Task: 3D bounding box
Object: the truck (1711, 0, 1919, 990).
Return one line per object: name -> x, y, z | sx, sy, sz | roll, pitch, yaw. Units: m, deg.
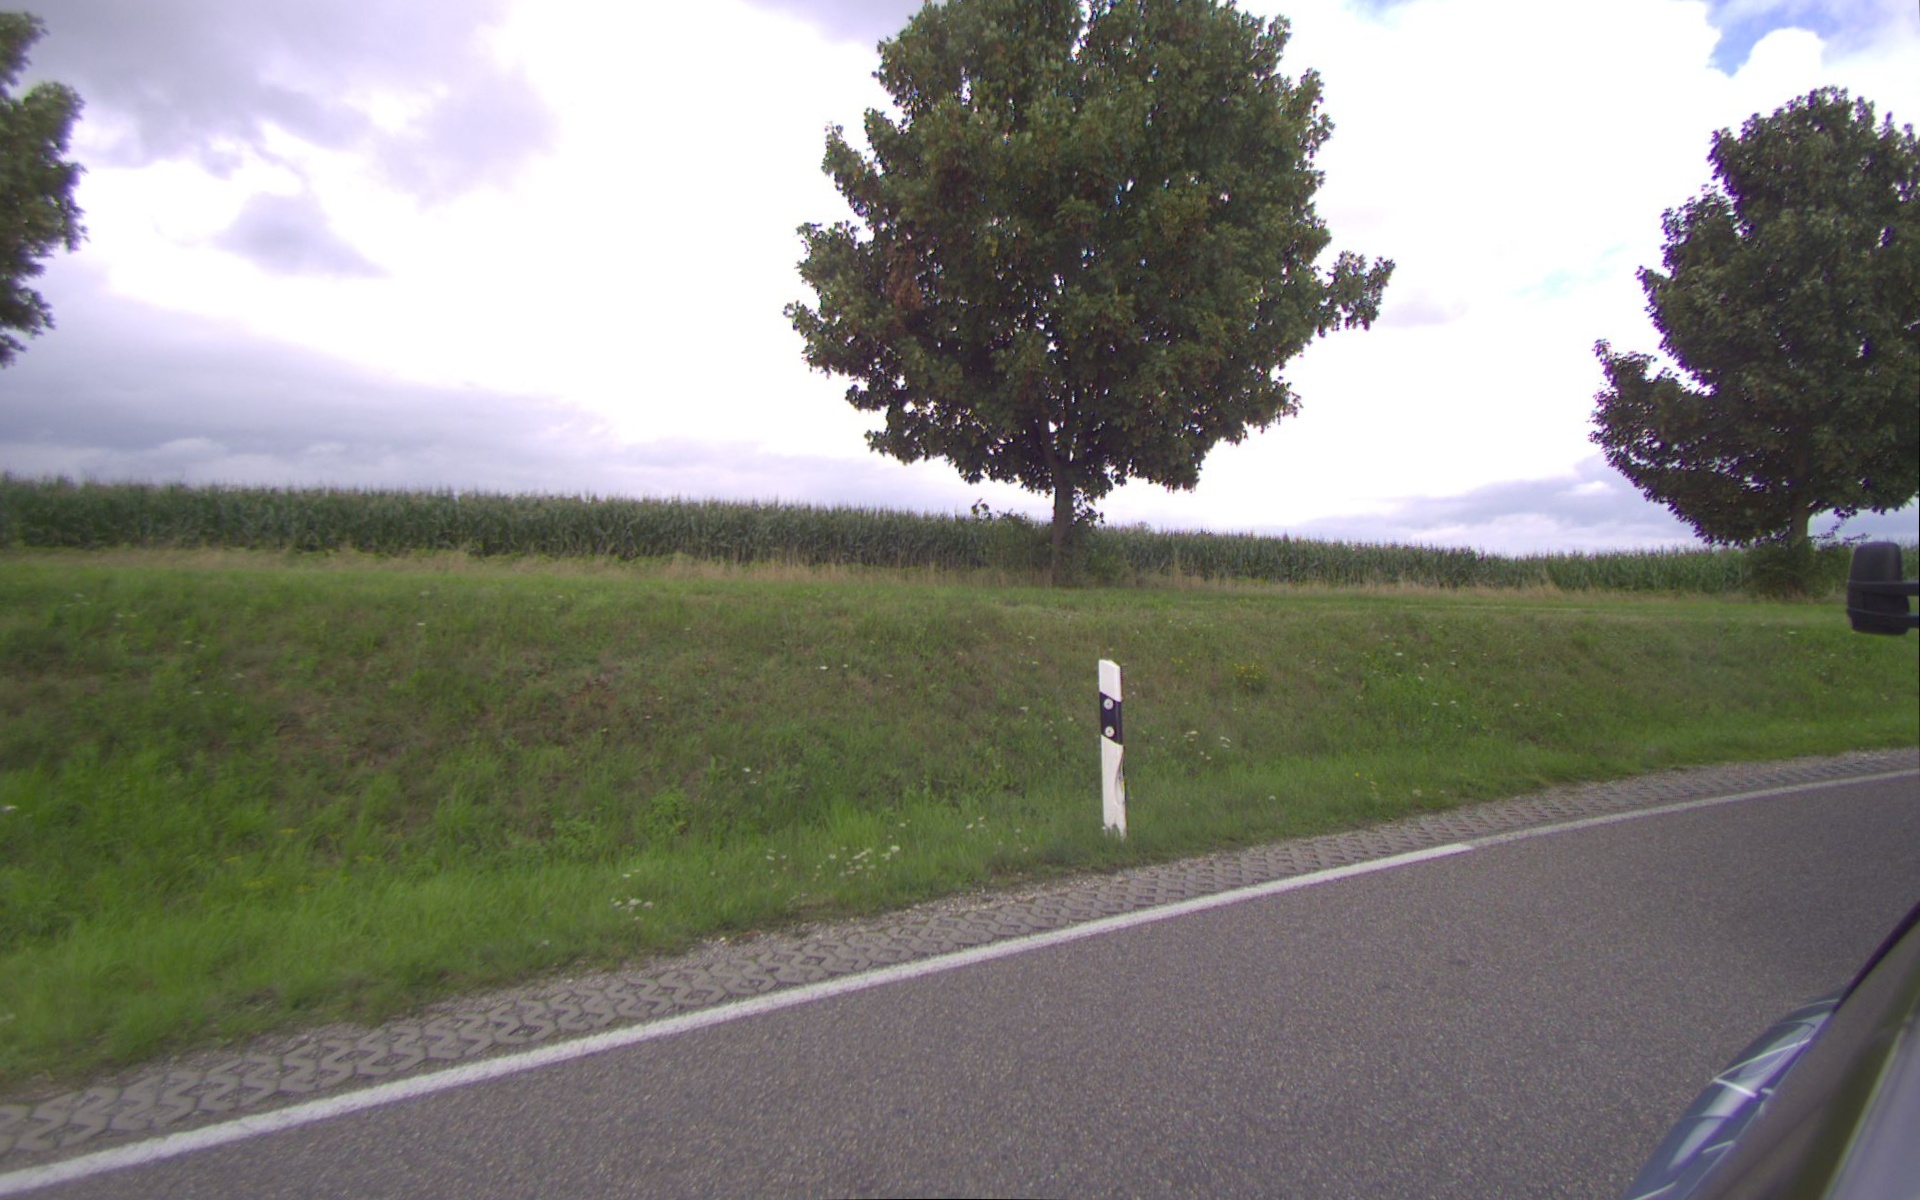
truck -> 7.190, -0.616, 4.602 | 8.623, 3.810, 2.843 | 1, 1, -30
